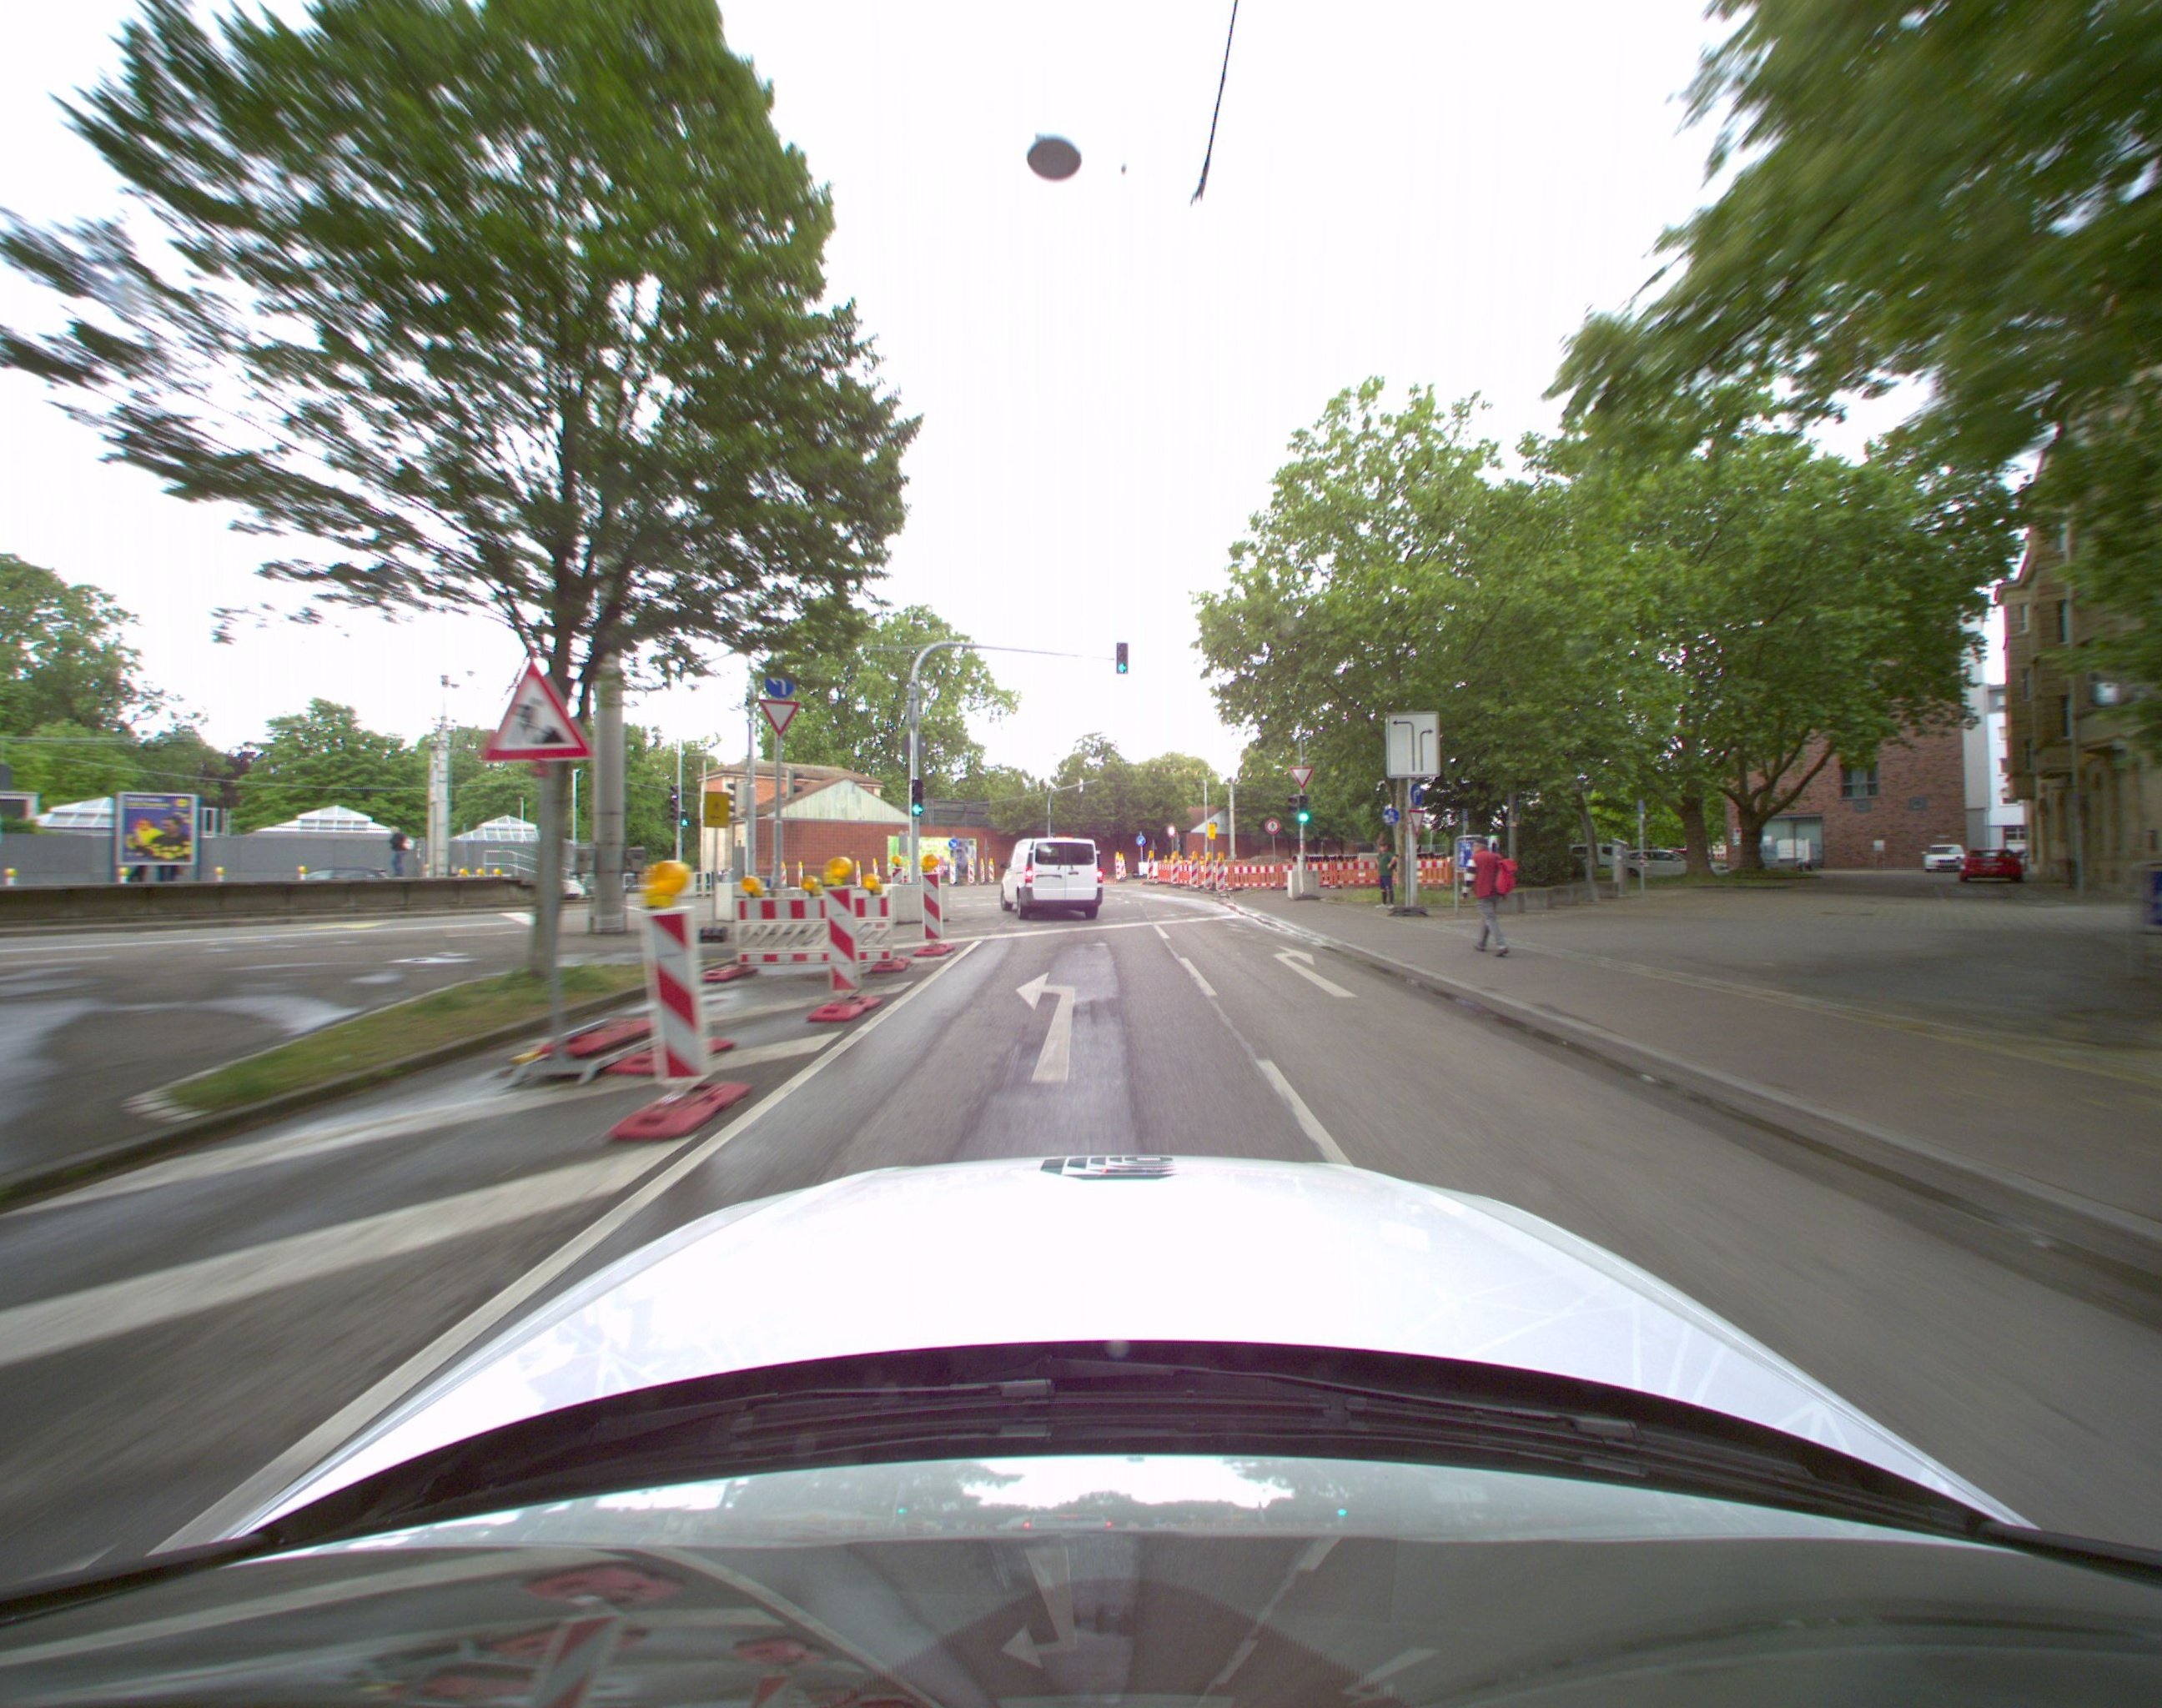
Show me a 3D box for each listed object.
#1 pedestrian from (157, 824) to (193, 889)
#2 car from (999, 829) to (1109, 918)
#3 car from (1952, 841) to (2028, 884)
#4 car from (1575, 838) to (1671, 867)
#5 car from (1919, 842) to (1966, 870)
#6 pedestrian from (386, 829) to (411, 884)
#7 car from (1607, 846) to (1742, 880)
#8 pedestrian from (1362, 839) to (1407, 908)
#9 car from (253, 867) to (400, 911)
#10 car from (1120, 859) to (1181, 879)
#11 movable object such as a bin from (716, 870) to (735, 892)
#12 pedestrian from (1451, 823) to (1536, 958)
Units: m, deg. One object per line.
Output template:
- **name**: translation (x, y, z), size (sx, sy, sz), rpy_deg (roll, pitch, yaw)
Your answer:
- **pedestrian**: translation (-24.125, 0.066, 21.700), size (0.602, 1.699, 0.453), rpy_deg (-1, -2, -44)
- **car**: translation (-0.812, 0.518, 20.452), size (1.918, 1.902, 4.681), rpy_deg (3, -3, -12)
- **car**: translation (38.192, 0.349, 34.322), size (4.432, 1.711, 1.975), rpy_deg (0, -2, -43)
- **car**: translation (31.659, -0.055, 47.597), size (4.449, 1.472, 1.731), rpy_deg (-3, -2, 41)
- **car**: translation (48.180, 0.108, 45.535), size (4.133, 1.507, 1.699), rpy_deg (0, -2, -43)
- **pedestrian**: translation (-20.292, 0.067, 24.216), size (0.528, 1.610, 0.591), rpy_deg (-1, -2, -44)
- **car**: translation (25.435, 0.402, 35.017), size (4.450, 1.326, 1.730), rpy_deg (-3, -2, 44)
- **pedestrian**: translation (7.798, 0.494, 20.943), size (0.730, 1.697, 0.836), rpy_deg (-2, 0, -7)
- **car**: translation (-28.824, 1.325, 31.247), size (4.022, 1.552, 1.736), rpy_deg (0, -3, -43)
- **car**: translation (5.388, 1.169, 62.849), size (4.477, 1.443, 1.859), rpy_deg (0, -3, -36)
- **movable object such as a bin**: translation (-22.101, 1.686, 50.617), size (0.855, 1.340, 0.791), rpy_deg (-1, -2, -41)
- **pedestrian**: translation (5.899, 0.509, 11.687), size (0.776, 1.831, 0.728), rpy_deg (-3, 0, 1)
